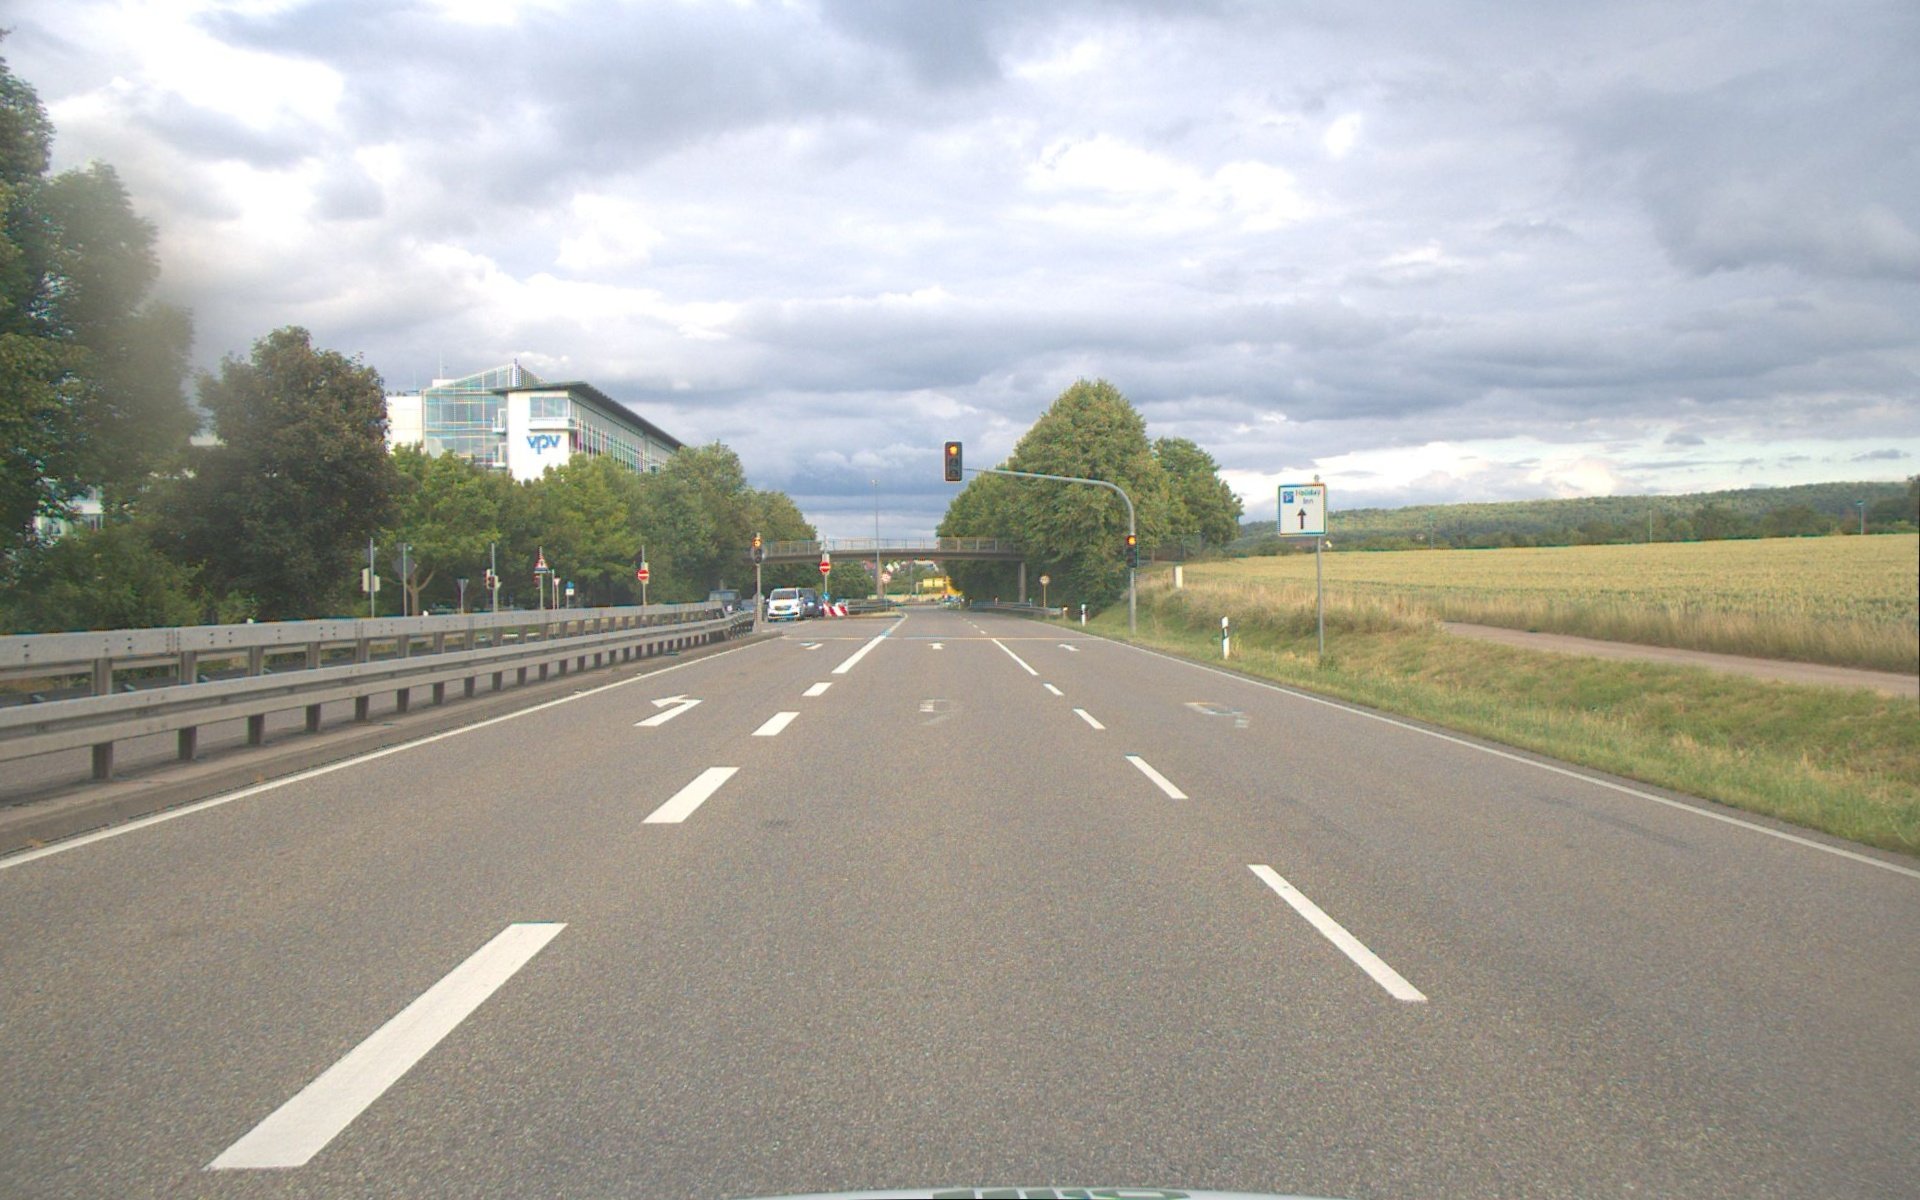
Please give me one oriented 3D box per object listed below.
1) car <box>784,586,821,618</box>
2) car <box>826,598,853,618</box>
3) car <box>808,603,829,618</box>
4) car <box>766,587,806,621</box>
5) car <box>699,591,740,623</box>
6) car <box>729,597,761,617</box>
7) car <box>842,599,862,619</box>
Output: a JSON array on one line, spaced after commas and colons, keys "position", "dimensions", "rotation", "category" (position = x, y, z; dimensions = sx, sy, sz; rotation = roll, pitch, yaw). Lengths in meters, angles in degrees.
[{"position": [-9.964, 0.093, 104.858], "dimensions": [1.953, 1.906, 4.736], "rotation": [-1, 1, -1], "category": "car"}, {"position": [-6.862, 0.452, 94.362], "dimensions": [1.330, 1.111, 2.922], "rotation": [-1, 1, 0], "category": "car"}, {"position": [-9.802, 0.711, 114.784], "dimensions": [1.286, 1.004, 2.921], "rotation": [-1, 1, -2], "category": "car"}, {"position": [-10.094, 0.215, 96.298], "dimensions": [1.908, 1.906, 4.736], "rotation": [-1, 1, -1], "category": "car"}, {"position": [-13.922, 0.395, 96.023], "dimensions": [1.831, 1.784, 4.048], "rotation": [-1, 1, -1], "category": "car"}, {"position": [-13.415, 0.439, 103.308], "dimensions": [1.580, 1.199, 3.457], "rotation": [-1, 1, -1], "category": "car"}, {"position": [-7.437, 0.612, 114.042], "dimensions": [1.286, 1.251, 2.921], "rotation": [-1, 1, -2], "category": "car"}]
